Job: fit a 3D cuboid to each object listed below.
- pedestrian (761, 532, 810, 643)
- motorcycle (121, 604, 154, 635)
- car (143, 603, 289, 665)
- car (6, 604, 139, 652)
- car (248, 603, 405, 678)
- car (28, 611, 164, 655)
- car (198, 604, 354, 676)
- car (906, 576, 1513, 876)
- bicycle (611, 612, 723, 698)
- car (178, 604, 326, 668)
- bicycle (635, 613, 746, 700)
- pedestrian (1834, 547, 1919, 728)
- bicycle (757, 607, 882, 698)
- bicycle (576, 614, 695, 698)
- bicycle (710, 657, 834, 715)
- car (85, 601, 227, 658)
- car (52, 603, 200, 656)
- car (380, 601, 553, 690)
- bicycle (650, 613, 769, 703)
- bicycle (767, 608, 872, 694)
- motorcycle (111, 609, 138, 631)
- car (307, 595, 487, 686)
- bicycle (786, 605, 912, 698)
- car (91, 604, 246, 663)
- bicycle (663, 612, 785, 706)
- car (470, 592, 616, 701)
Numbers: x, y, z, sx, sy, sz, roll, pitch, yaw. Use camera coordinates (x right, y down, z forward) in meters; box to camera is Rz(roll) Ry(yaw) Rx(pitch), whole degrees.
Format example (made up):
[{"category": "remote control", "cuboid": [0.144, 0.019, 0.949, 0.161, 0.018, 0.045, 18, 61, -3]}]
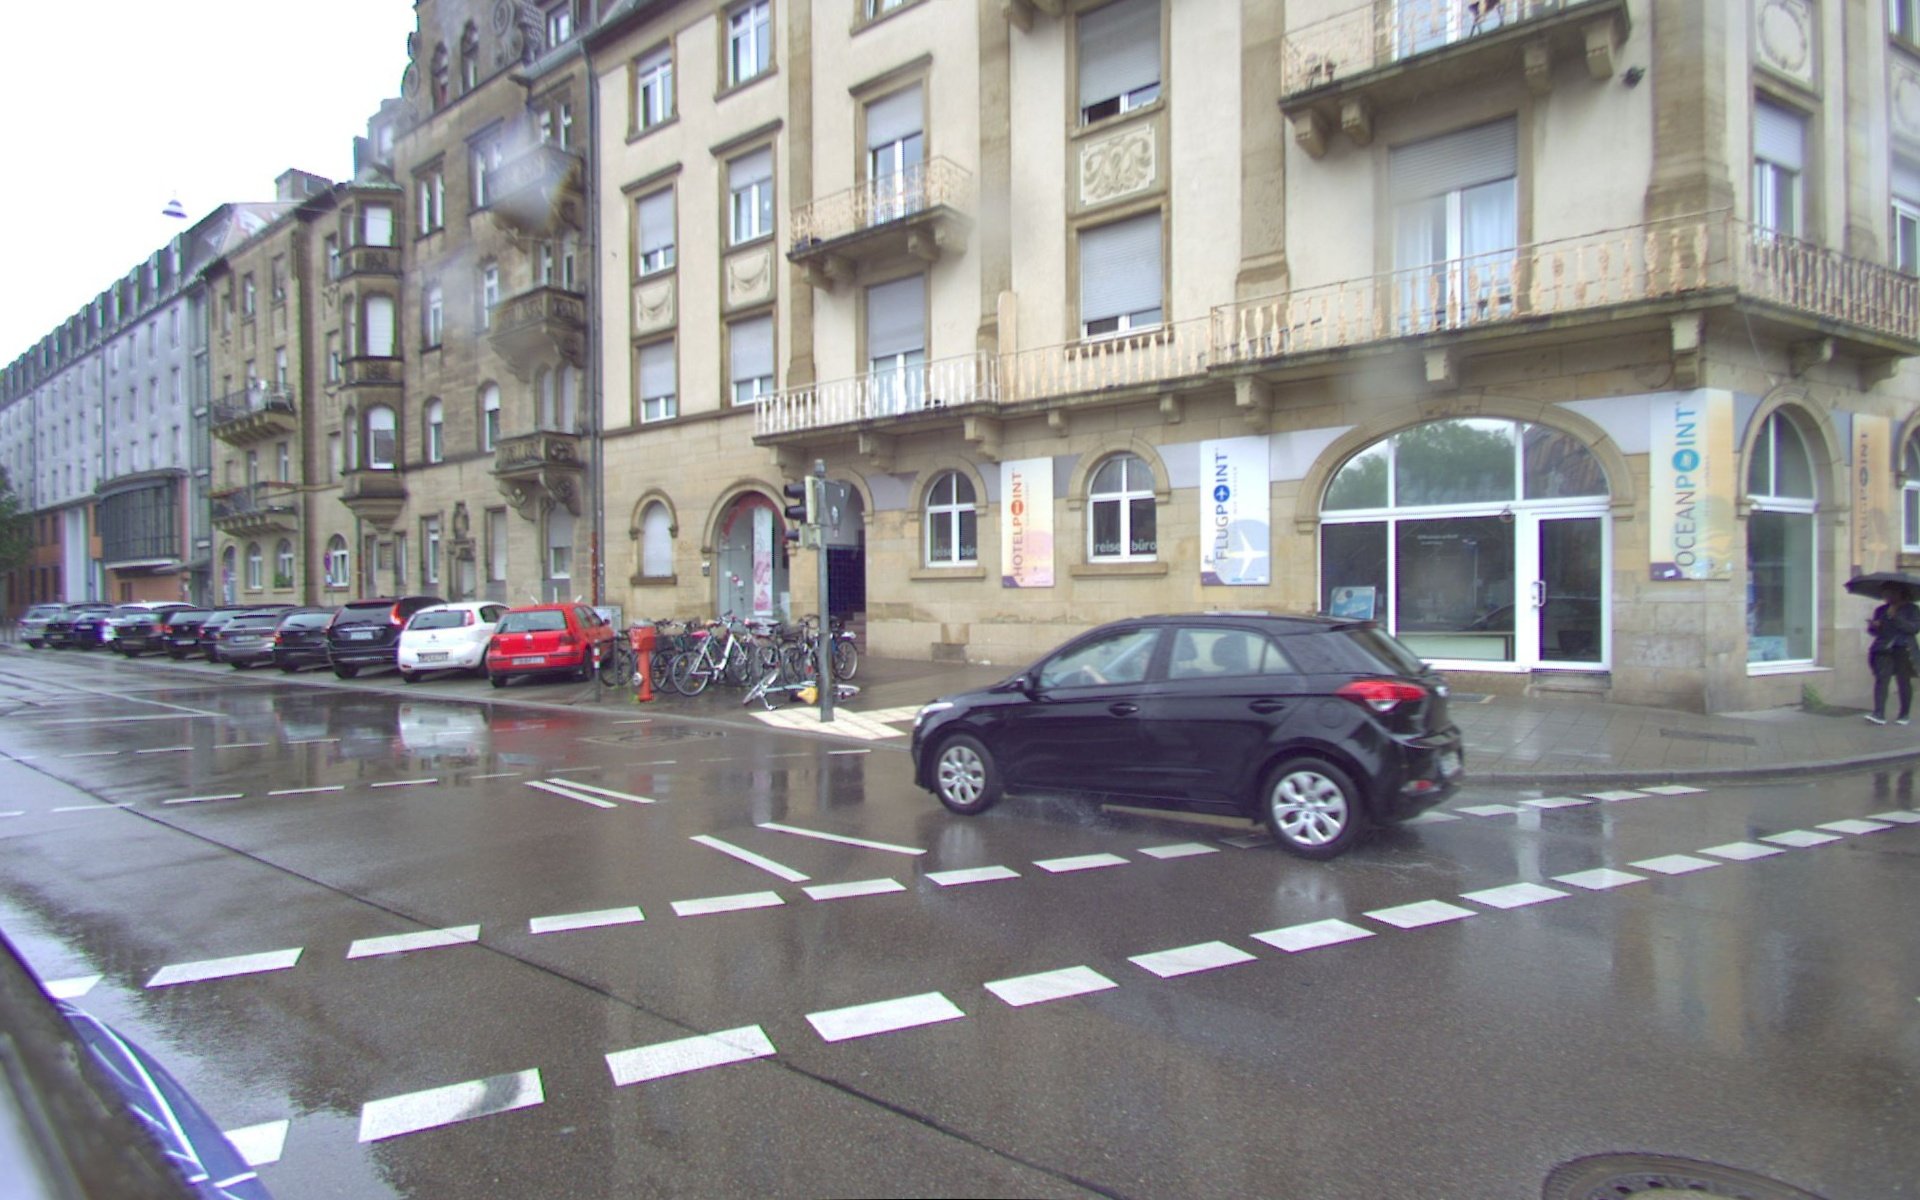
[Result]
[{"category": "pedestrian", "cuboid": [-3.797, -0.276, 22.027, 0.834, 2.357, 0.766, 0, 0, -29]}, {"category": "motorcycle", "cuboid": [-40.011, 0.927, 49.220, 2.360, 1.474, 0.767, -1, -1, 39]}, {"category": "car", "cuboid": [-22.022, 0.957, 30.146, 1.605, 1.555, 3.761, -2, 1, -2]}, {"category": "car", "cuboid": [-33.948, 1.043, 38.859, 1.789, 1.743, 3.926, 0, -1, -3]}, {"category": "car", "cuboid": [-15.077, 0.905, 24.300, 1.677, 1.536, 3.311, -2, 1, 0]}, {"category": "car", "cuboid": [-31.483, 1.168, 37.012, 1.695, 1.539, 3.724, 0, -1, 3]}, {"category": "car", "cuboid": [-17.416, 0.968, 25.971, 1.677, 1.555, 3.431, -2, 1, -1]}, {"category": "car", "cuboid": [1.599, 0.710, 7.134, 3.774, 1.558, 1.726, -2, -2, 39]}, {"category": "bicycle", "cuboid": [-4.796, 0.872, 16.682, 0.474, 1.193, 1.794, -1, 4, 36]}, {"category": "car", "cuboid": [-19.740, 0.954, 28.400, 1.606, 1.555, 3.442, -2, 1, 2]}, {"category": "bicycle", "cuboid": [-4.324, 0.883, 16.380, 0.467, 1.193, 1.794, -1, 3, 36]}, {"category": "pedestrian", "cuboid": [10.737, 0.398, 11.522, 0.688, 1.980, 0.924, 0, 2, -26]}, {"category": "bicycle", "cuboid": [-2.218, 0.797, 16.351, 0.638, 1.356, 2.321, -1, 0, 33]}, {"category": "bicycle", "cuboid": [-5.466, 0.921, 17.145, 0.600, 1.193, 1.790, -1, 4, 44]}, {"category": "bicycle", "cuboid": [-2.603, 1.186, 14.156, 1.461, 0.668, 1.040, -1, 2, 8]}, {"category": "car", "cuboid": [-26.915, 0.940, 34.030, 1.754, 1.639, 3.727, -2, 1, 0]}, {"category": "car", "cuboid": [-29.229, 0.993, 35.631, 1.879, 1.538, 3.720, 0, 3, 7]}, {"category": "car", "cuboid": [-10.106, 0.867, 21.085, 1.680, 1.545, 3.995, -2, 1, -1]}, {"category": "bicycle", "cuboid": [-3.920, 0.877, 16.009, 0.474, 1.193, 1.963, 0, 3, 35]}, {"category": "bicycle", "cuboid": [-2.351, 0.824, 17.194, 0.583, 1.356, 2.041, -1, 0, 32]}, {"category": "motorcycle", "cuboid": [-42.024, 0.994, 50.904, 2.360, 1.110, 0.592, -1, -1, 39]}, {"category": "car", "cuboid": [-12.323, 0.802, 22.482, 1.739, 1.704, 4.086, -2, 1, -1]}, {"category": "bicycle", "cuboid": [-1.704, 0.761, 15.951, 0.638, 1.356, 2.321, -1, 0, 33]}, {"category": "car", "cuboid": [-24.626, 1.001, 31.665, 1.755, 1.555, 3.724, -2, 1, 3]}, {"category": "bicycle", "cuboid": [-3.612, 0.870, 15.656, 0.437, 1.340, 1.956, -1, -1, 40]}, {"category": "car", "cuboid": [-7.825, 0.781, 19.351, 1.774, 1.518, 4.011, -5, 4, -12]}]
